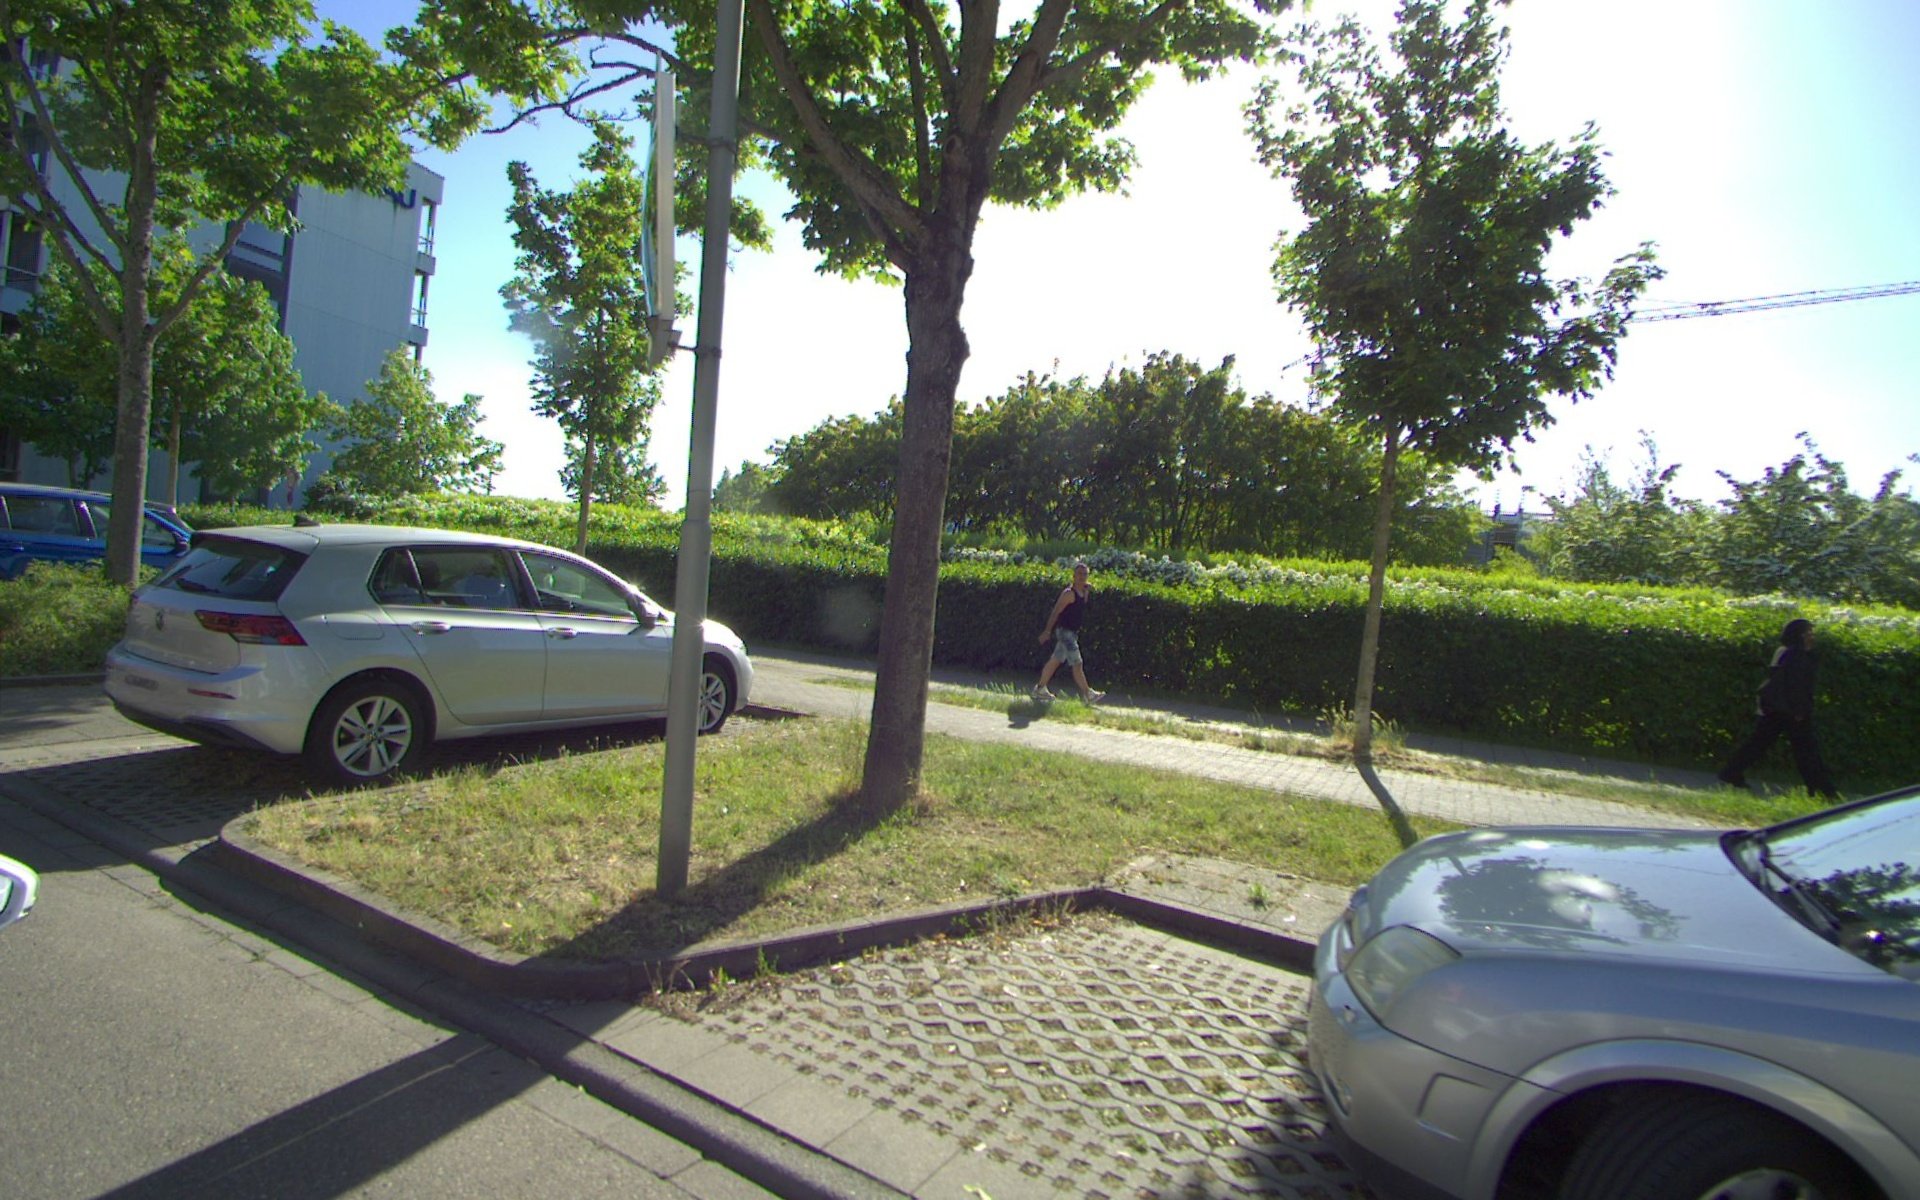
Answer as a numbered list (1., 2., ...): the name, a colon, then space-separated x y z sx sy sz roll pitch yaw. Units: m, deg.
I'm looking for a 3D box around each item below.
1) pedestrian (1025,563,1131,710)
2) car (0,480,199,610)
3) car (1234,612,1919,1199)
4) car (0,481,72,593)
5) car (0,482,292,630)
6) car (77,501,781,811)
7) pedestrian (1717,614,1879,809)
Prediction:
1. pedestrian: 1.359 0.413 11.596 0.920 1.562 0.607 6 1 26
2. car: -12.351 -0.735 12.150 2.120 1.535 4.556 5 2 25
3. car: 3.122 0.994 2.133 4.543 1.514 1.810 6 3 27
4. car: -14.572 -0.962 13.296 1.719 1.535 3.881 5 2 25
5. car: -9.891 -0.515 11.133 1.714 1.469 3.807 5 3 26
6. car: -3.258 0.227 7.019 1.615 1.449 4.087 6 3 31
7. pedestrian: 7.608 0.986 9.187 0.838 1.608 0.725 6 1 26
